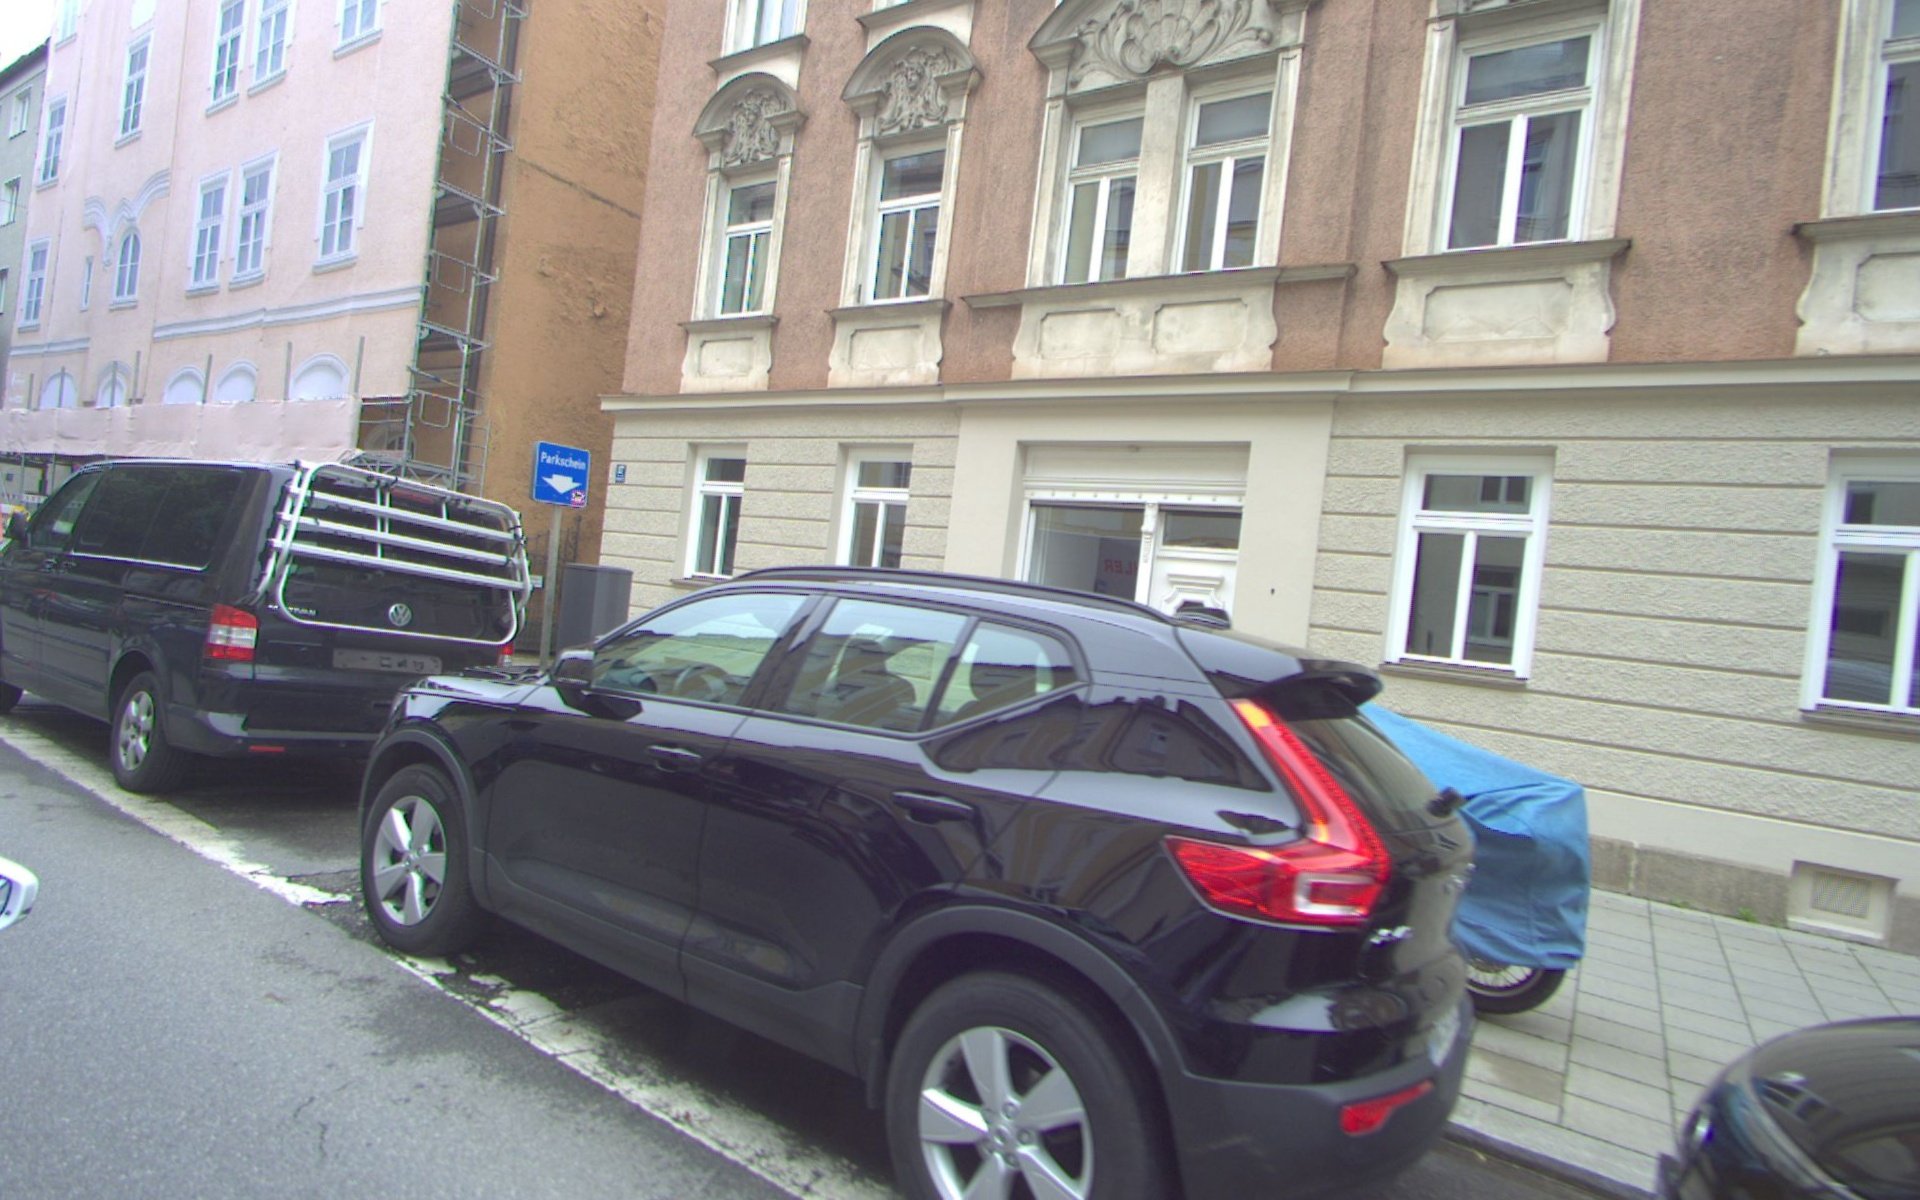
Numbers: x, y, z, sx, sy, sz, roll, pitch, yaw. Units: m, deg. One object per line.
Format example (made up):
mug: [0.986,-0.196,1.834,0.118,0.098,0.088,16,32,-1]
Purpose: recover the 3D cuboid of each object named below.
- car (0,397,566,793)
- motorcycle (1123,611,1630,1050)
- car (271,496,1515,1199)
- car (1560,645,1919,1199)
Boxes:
car: [-5.361,-0.045,7.204,5.060,1.942,2.085,4,-4,34]
motorcycle: [1.947,0.942,4.830,1.966,1.523,0.872,7,0,35]
car: [-0.551,0.694,3.758,4.338,1.694,1.697,6,-4,34]
car: [3.777,1.210,0.804,5.544,1.571,1.934,7,-1,32]
